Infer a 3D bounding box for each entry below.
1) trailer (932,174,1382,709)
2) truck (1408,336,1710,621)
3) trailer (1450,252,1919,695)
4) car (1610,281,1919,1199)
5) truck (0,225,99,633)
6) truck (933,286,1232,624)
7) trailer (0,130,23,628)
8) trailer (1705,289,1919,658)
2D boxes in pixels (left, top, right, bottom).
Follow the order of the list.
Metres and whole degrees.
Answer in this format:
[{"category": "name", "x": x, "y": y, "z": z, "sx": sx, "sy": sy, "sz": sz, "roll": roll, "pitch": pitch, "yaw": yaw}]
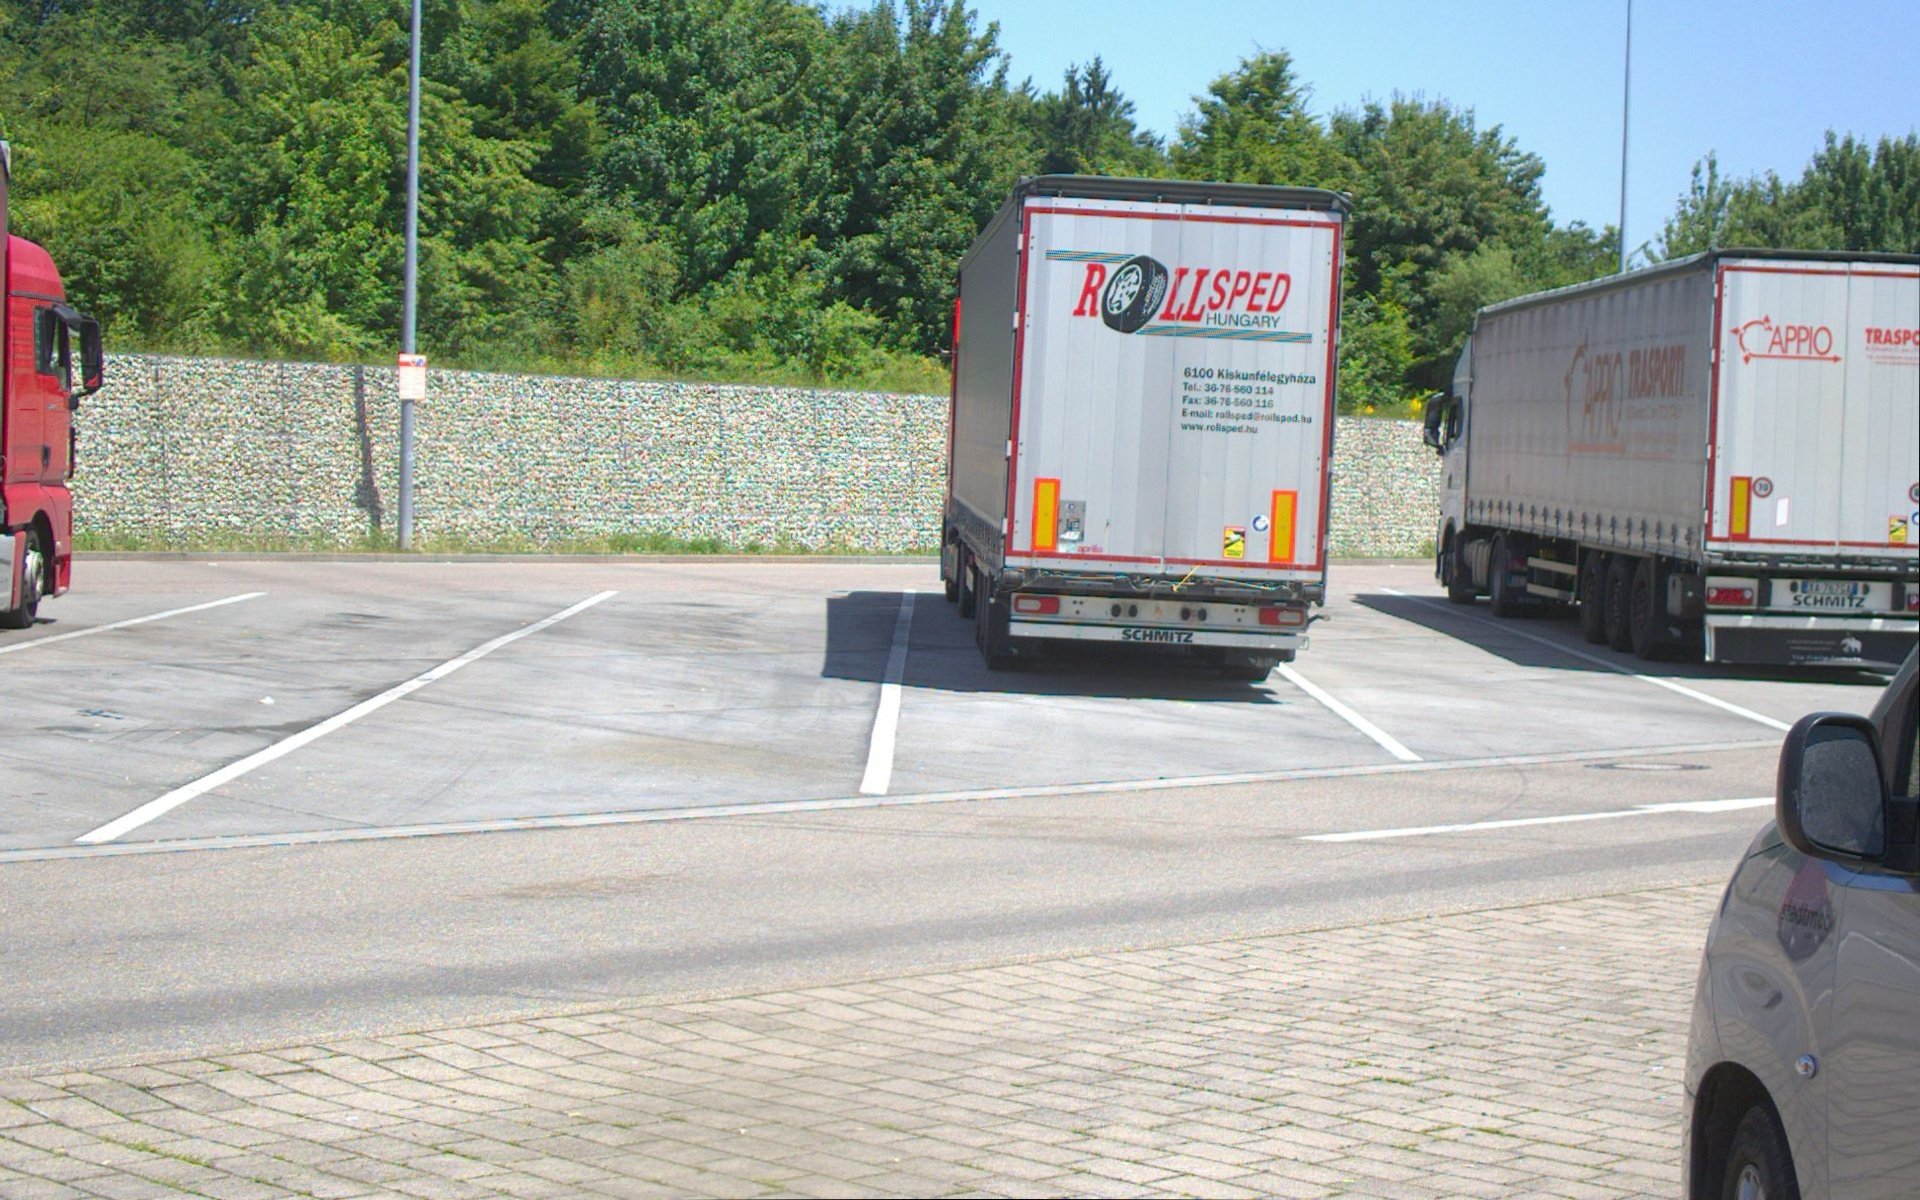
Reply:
[{"category": "trailer", "x": 1.450, "y": -1.597, "z": 33.606, "sx": 3.133, "sy": 3.976, "sz": 14.397, "roll": 2, "pitch": 3, "yaw": -1}, {"category": "truck", "x": 8.023, "y": -1.704, "z": 46.819, "sx": 2.862, "sy": 3.509, "sz": 5.900, "roll": 2, "pitch": 3, "yaw": -1}, {"category": "trailer", "x": 8.116, "y": -1.528, "z": 38.719, "sx": 2.811, "sy": 3.976, "sz": 14.396, "roll": 2, "pitch": 3, "yaw": -1}, {"category": "car", "x": 2.152, "y": 0.583, "z": 3.838, "sx": 1.869, "sy": 1.857, "sz": 4.177, "roll": 2, "pitch": 2, "yaw": -2}, {"category": "truck", "x": -9.236, "y": -1.446, "z": 28.130, "sx": 2.851, "sy": 3.316, "sz": 5.900, "roll": 2, "pitch": 3, "yaw": -1}, {"category": "truck", "x": 1.313, "y": -1.739, "z": 40.498, "sx": 3.103, "sy": 3.554, "sz": 5.900, "roll": 2, "pitch": 3, "yaw": -1}, {"category": "trailer", "x": -9.192, "y": -1.490, "z": 21.556, "sx": 2.791, "sy": 4.071, "sz": 14.133, "roll": 2, "pitch": 3, "yaw": -1}, {"category": "trailer", "x": 11.757, "y": -1.461, "z": 39.771, "sx": 2.811, "sy": 3.976, "sz": 14.396, "roll": 2, "pitch": 3, "yaw": -1}]
